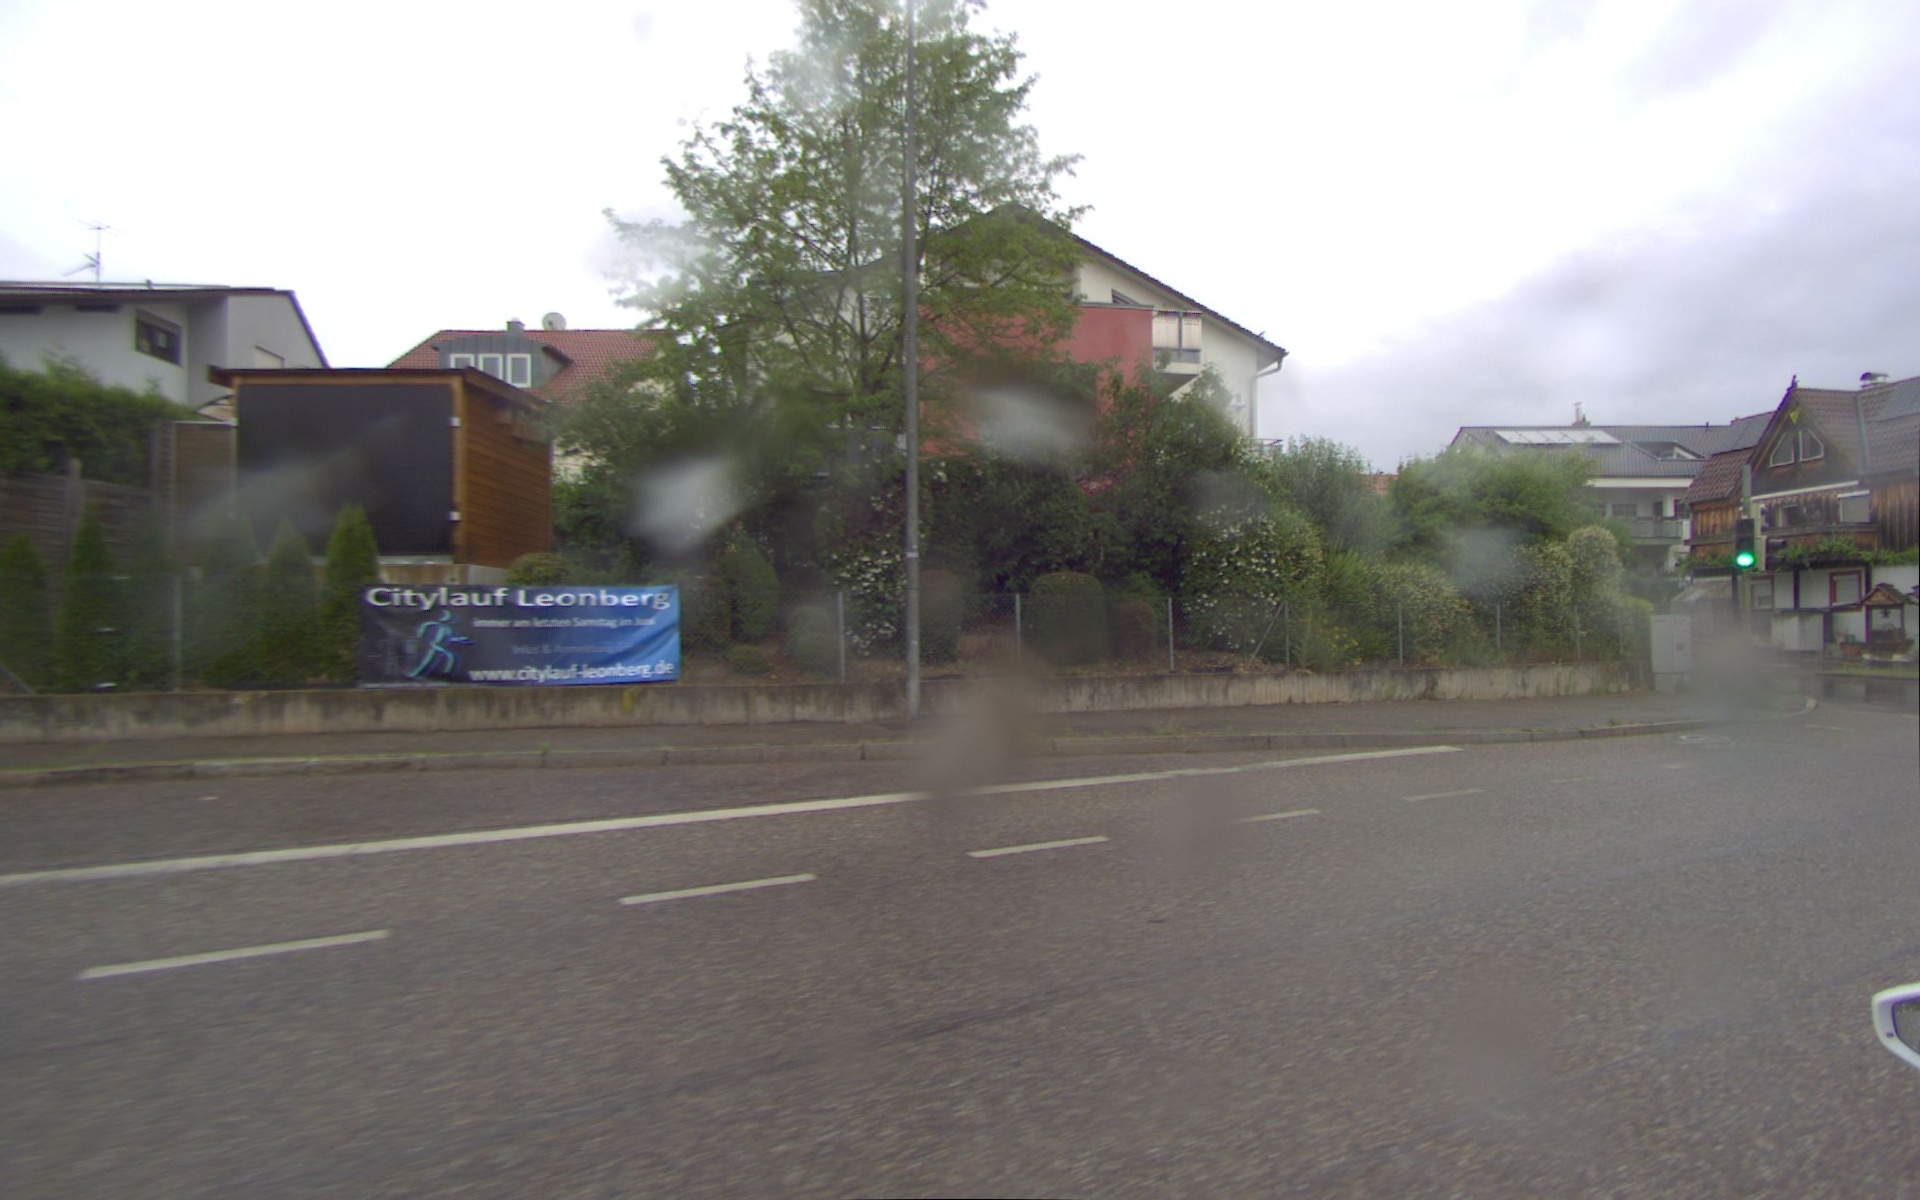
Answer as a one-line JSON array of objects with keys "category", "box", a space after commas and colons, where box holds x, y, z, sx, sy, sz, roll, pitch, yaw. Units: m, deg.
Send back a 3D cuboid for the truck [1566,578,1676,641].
[{"category": "truck", "box": [28.506, 0.449, 43.394, 3.776, 2.647, 1.779, 1, -2, -10]}]
